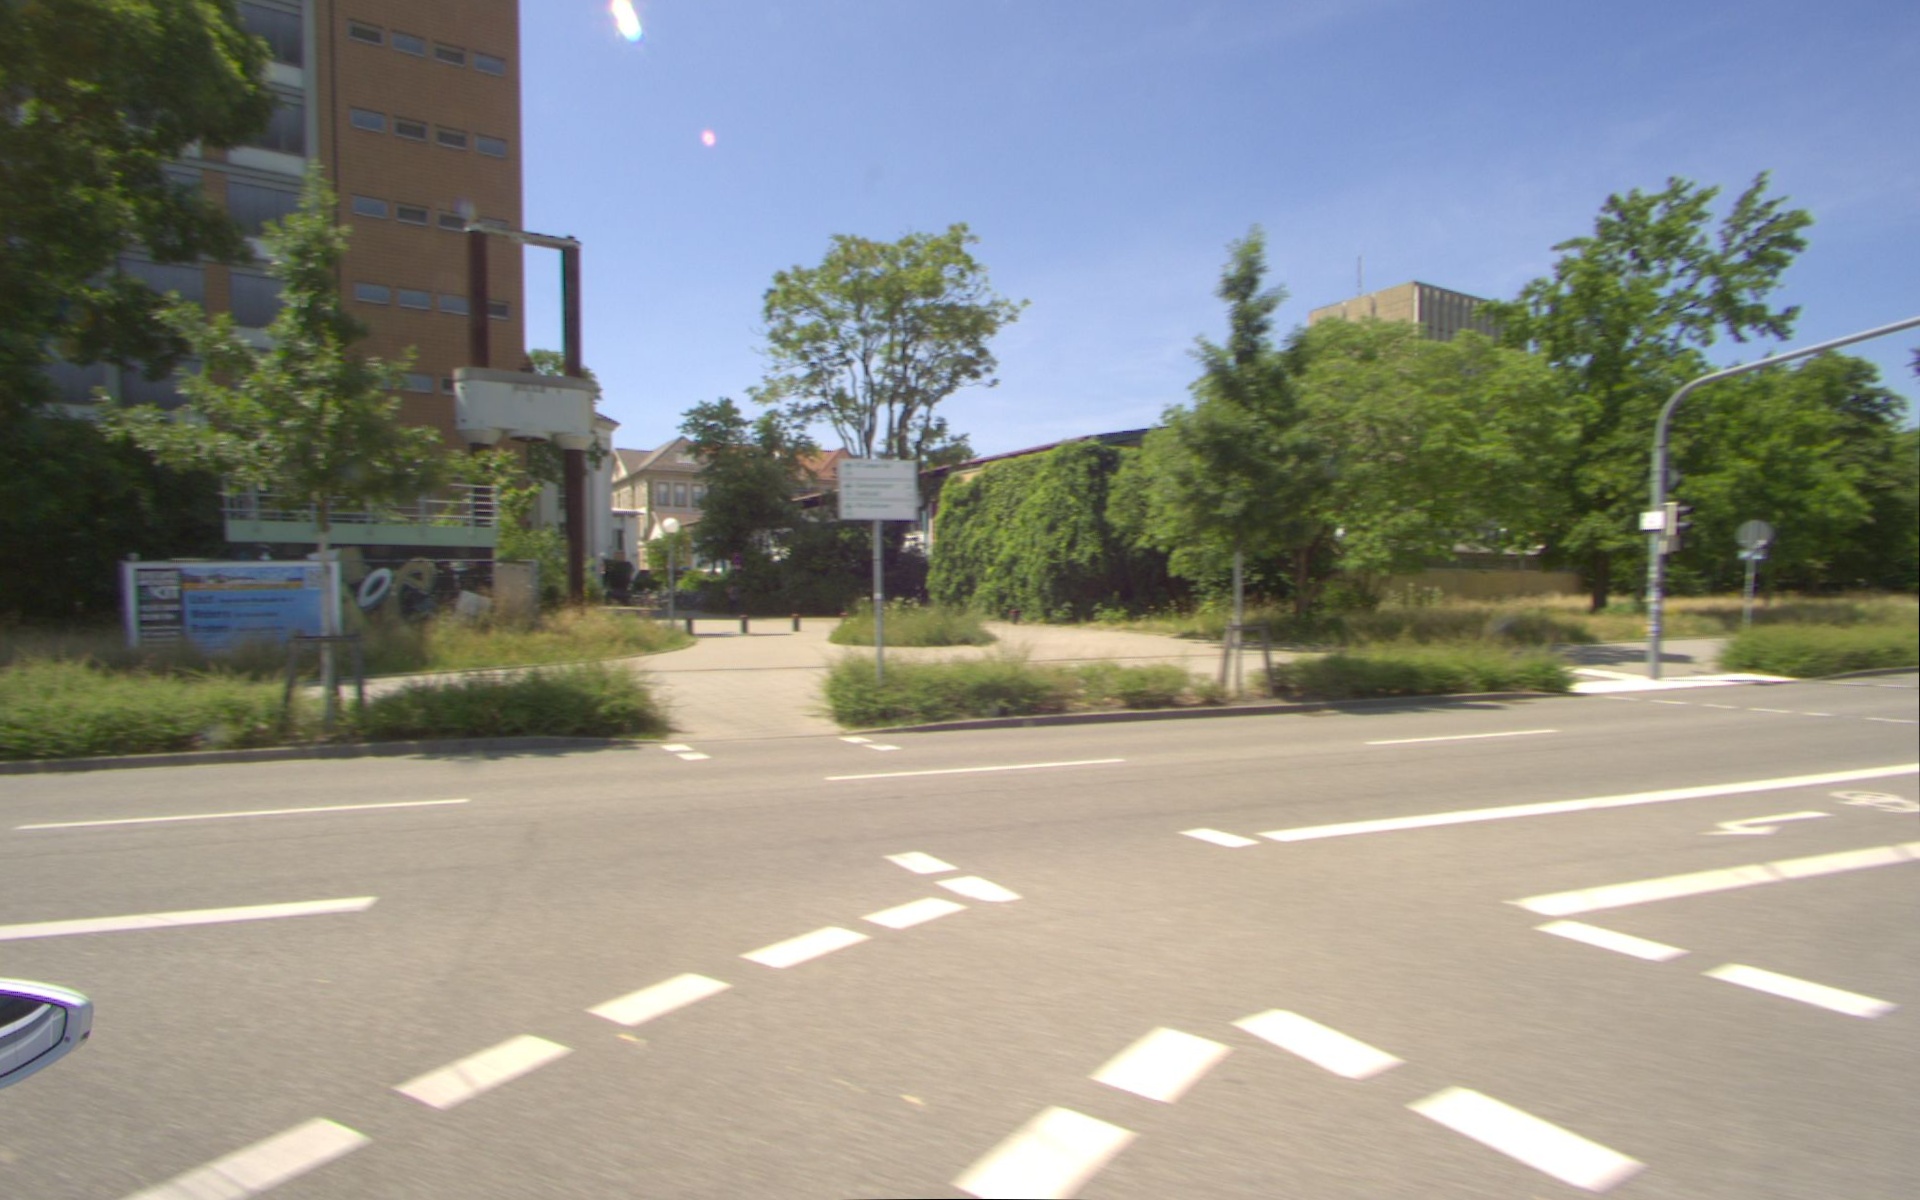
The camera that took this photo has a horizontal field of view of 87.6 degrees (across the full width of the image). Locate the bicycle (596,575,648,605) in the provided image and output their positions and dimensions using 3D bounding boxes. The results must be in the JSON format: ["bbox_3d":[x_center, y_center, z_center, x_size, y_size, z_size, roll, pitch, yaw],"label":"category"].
[{"bbox_3d":[-24.254,-0.724,71.967,3.407,2.040,0.756,2,0,-28],"label":"bicycle"}]

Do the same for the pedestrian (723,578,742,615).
[{"bbox_3d":[-10.508,-0.179,46.249,0.632,1.687,0.703,2,1,-31],"label":"pedestrian"}]

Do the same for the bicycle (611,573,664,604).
[{"bbox_3d":[-22.432,-0.766,69.625,3.407,2.040,0.756,2,0,-28],"label":"bicycle"}]

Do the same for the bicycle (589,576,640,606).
[{"bbox_3d":[-25.183,-0.659,73.071,3.407,2.040,0.756,2,0,-28],"label":"bicycle"}]

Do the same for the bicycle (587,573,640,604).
[{"bbox_3d":[-24.469,-0.811,70.810,3.407,2.040,0.756,2,0,-28],"label":"bicycle"}]

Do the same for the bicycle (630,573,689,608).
[{"bbox_3d":[-18.610,-0.577,62.090,3.407,2.040,0.756,2,0,-28],"label":"bicycle"}]

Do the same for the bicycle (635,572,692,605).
[{"bbox_3d":[-19.237,-0.737,65.068,3.407,2.040,0.756,2,0,-28],"label":"bicycle"}]

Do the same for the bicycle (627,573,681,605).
[{"bbox_3d":[-20.882,-0.720,68.365,3.407,2.040,0.756,2,0,-28],"label":"bicycle"}]

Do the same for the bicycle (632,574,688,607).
[{"bbox_3d":[-19.783,-0.627,65.987,3.407,2.040,0.756,2,0,-28],"label":"bicycle"}]
